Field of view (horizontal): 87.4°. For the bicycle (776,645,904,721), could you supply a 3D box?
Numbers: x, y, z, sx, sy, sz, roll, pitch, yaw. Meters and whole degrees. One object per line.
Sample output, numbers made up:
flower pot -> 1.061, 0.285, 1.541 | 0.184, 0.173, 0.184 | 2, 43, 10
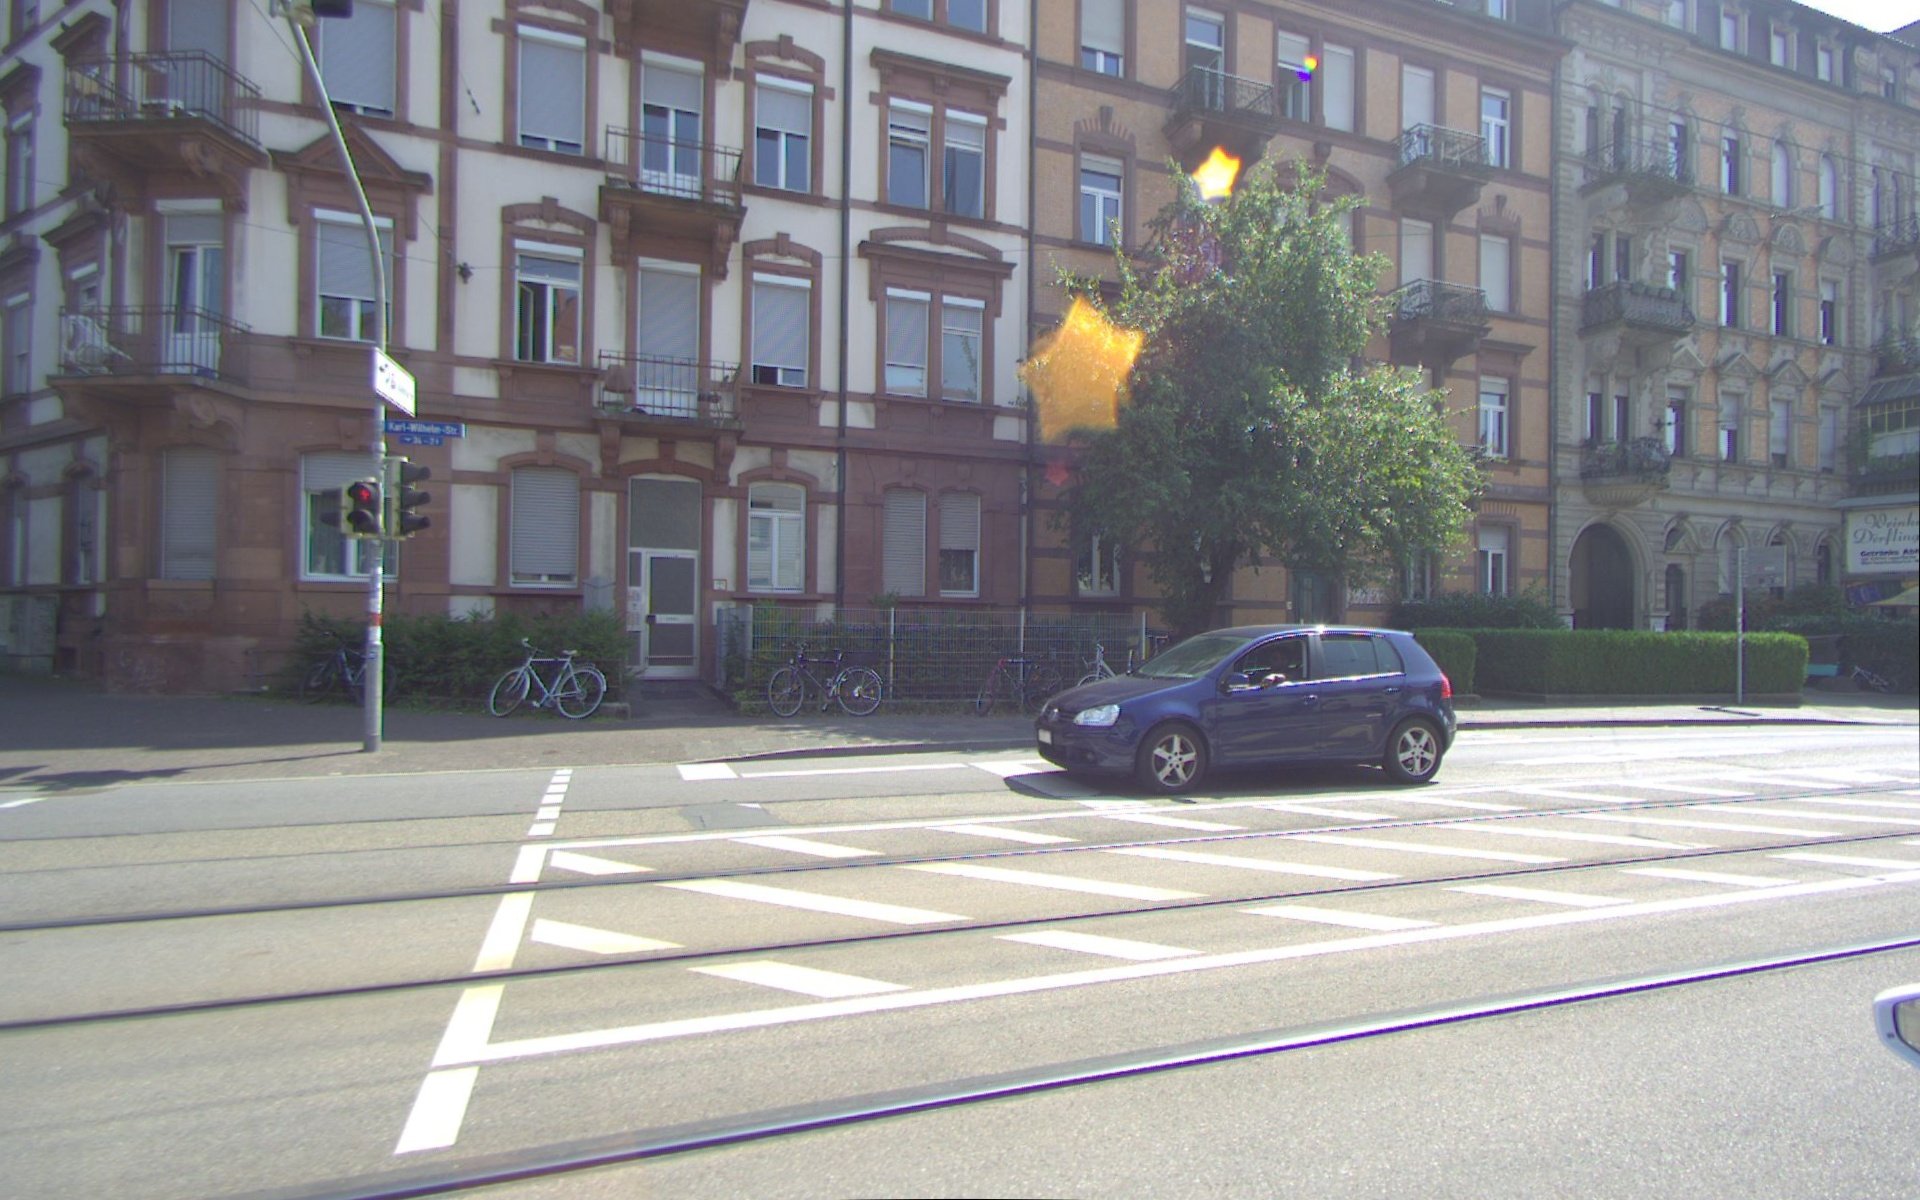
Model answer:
bicycle -> -1.703, 1.169, 14.294 | 1.749, 1.035, 0.487 | 1, -1, -18

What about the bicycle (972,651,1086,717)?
bicycle -> 1.037, 1.245, 15.061 | 1.630, 0.954, 0.487 | 1, -1, -18

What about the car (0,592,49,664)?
car -> -28.540, 0.769, 27.688 | 2.123, 2.040, 5.029 | 1, -1, 2

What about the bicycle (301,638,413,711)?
bicycle -> -8.844, 1.073, 14.726 | 1.645, 1.010, 0.395 | 0, -1, 18

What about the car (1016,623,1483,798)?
car -> 2.767, 0.981, 9.770 | 4.110, 1.452, 1.726 | 1, -2, -17

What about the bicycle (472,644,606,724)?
bicycle -> -5.751, 1.128, 13.714 | 1.793, 1.010, 0.489 | 0, -1, 18

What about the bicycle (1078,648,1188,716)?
bicycle -> 2.672, 1.251, 15.507 | 1.630, 0.999, 0.487 | 1, -1, -18
